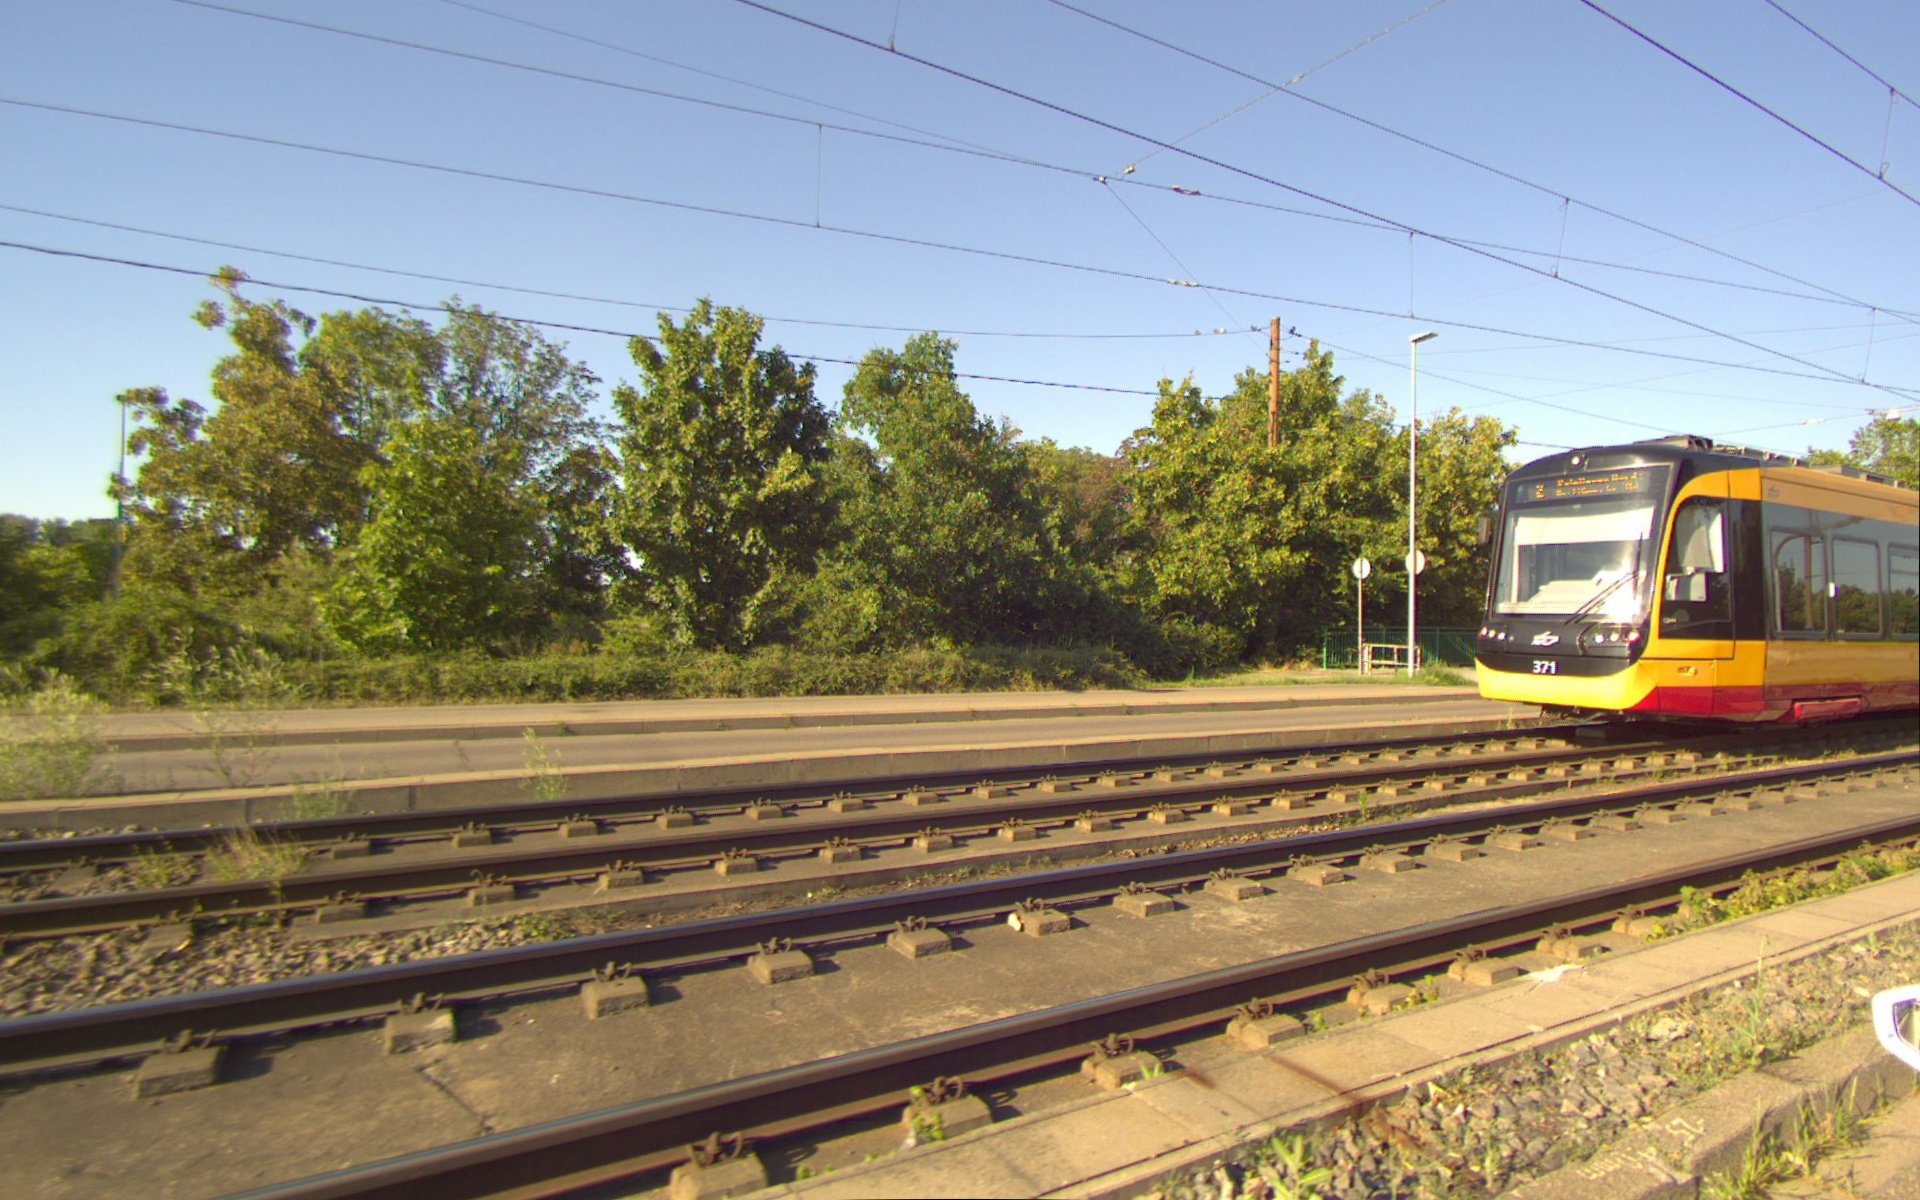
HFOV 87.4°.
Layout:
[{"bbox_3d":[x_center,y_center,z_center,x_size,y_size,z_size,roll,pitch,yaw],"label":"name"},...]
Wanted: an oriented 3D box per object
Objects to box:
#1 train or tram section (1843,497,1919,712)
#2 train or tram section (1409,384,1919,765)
[{"bbox_3d":[22.805,0.224,21.005,11.526,3.952,2.963,2,-1,-30],"label":"train or tram section"},{"bbox_3d":[12.171,-0.106,14.943,12.925,3.952,2.990,2,-1,-30],"label":"train or tram section"}]
